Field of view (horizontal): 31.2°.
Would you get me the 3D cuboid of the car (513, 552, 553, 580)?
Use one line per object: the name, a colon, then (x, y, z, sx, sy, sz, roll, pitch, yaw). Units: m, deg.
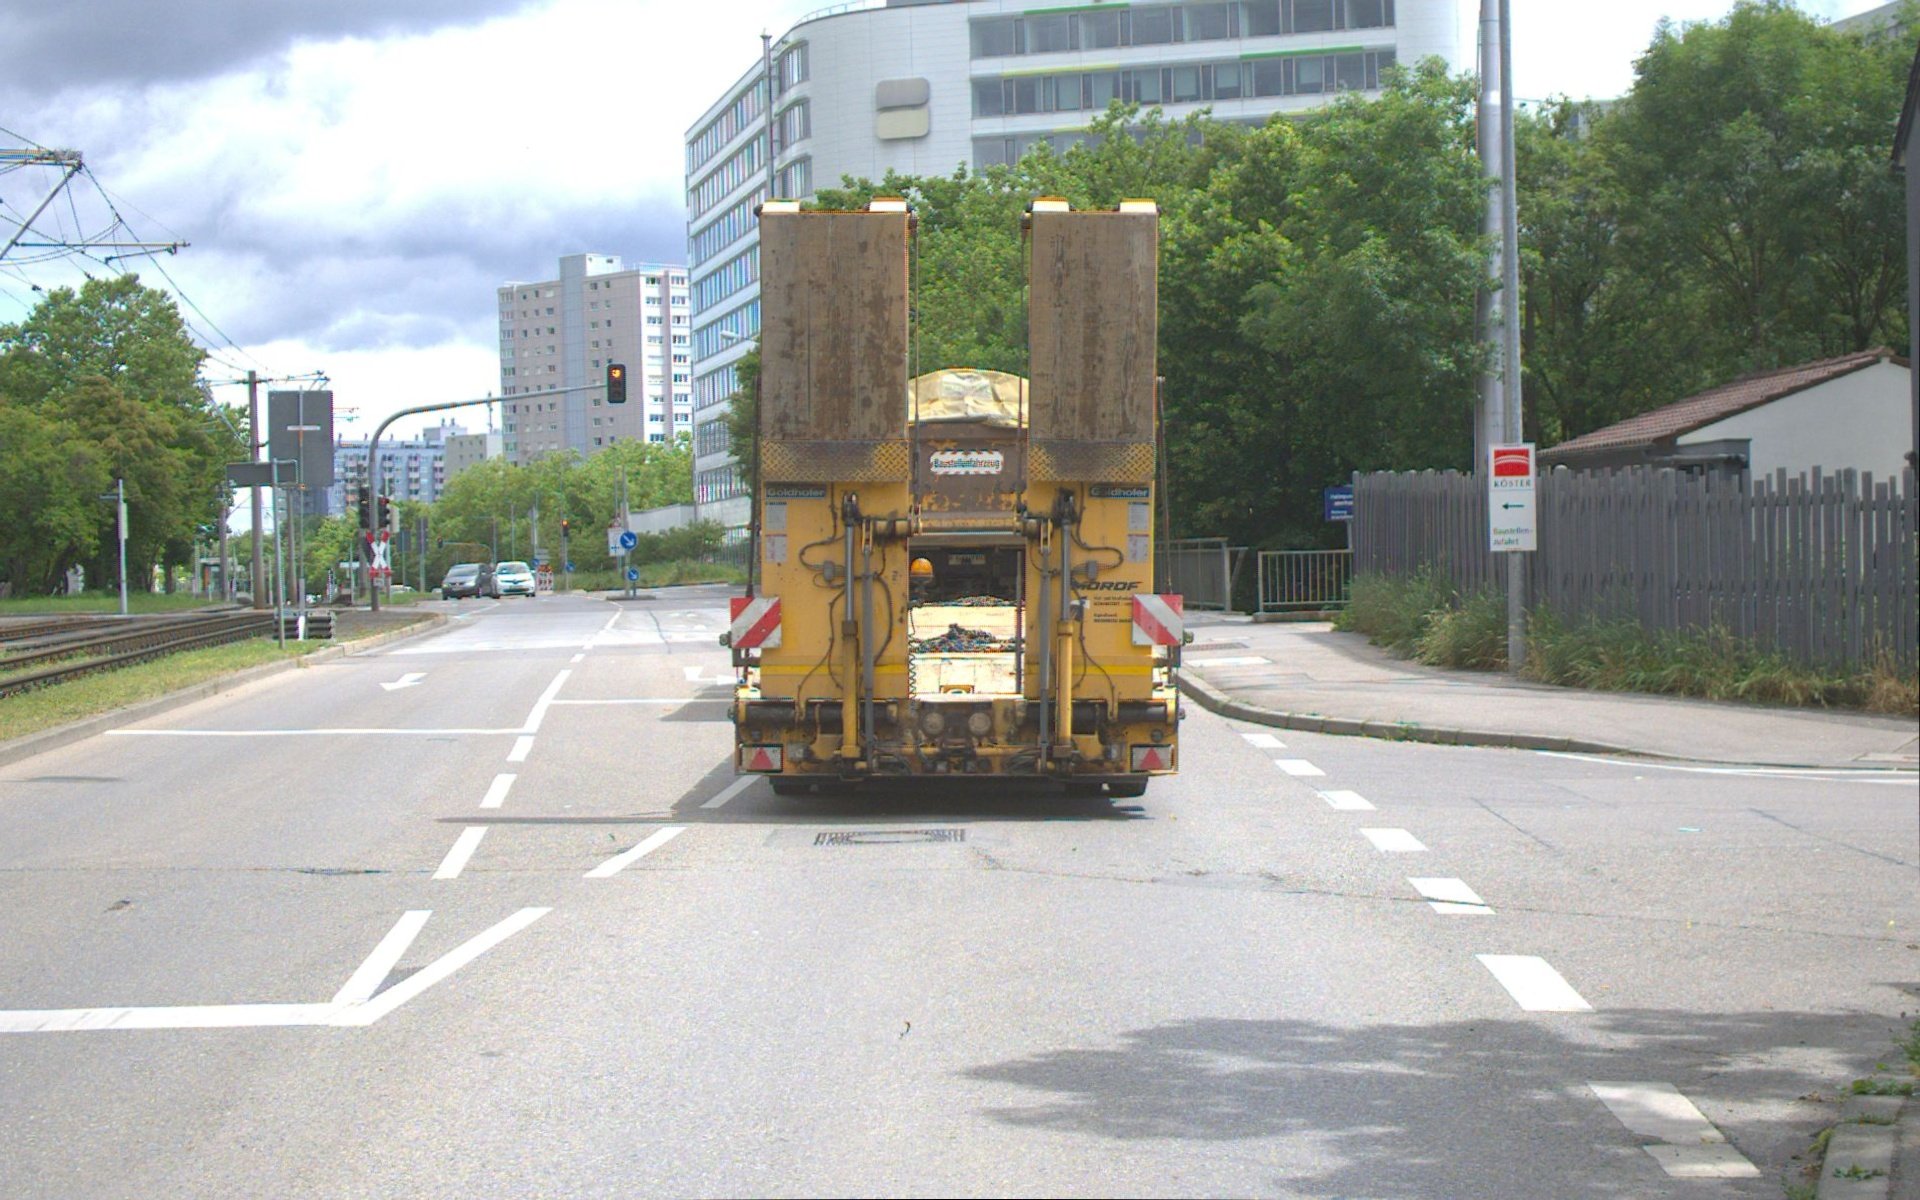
car: (-22.166, -1.753, 178.297, 1.993, 1.415, 4.001, 0, 0, -8)

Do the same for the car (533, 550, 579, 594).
car: (-18.289, -1.262, 155.493, 1.993, 1.919, 4.001, 0, 0, -8)

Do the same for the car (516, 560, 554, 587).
car: (-23.272, -1.443, 188.238, 1.993, 1.415, 4.001, 0, 0, -8)

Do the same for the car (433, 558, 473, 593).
car: (-23.673, -1.124, 160.469, 1.783, 1.564, 4.346, -2, 0, -8)

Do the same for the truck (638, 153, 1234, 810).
truck: (-0.395, -0.697, 25.388, 3.316, 3.638, 12.563, 0, 0, -2)

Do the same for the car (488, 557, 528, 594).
car: (-19.315, -1.052, 146.964, 1.593, 1.521, 3.656, -2, 0, -6)
